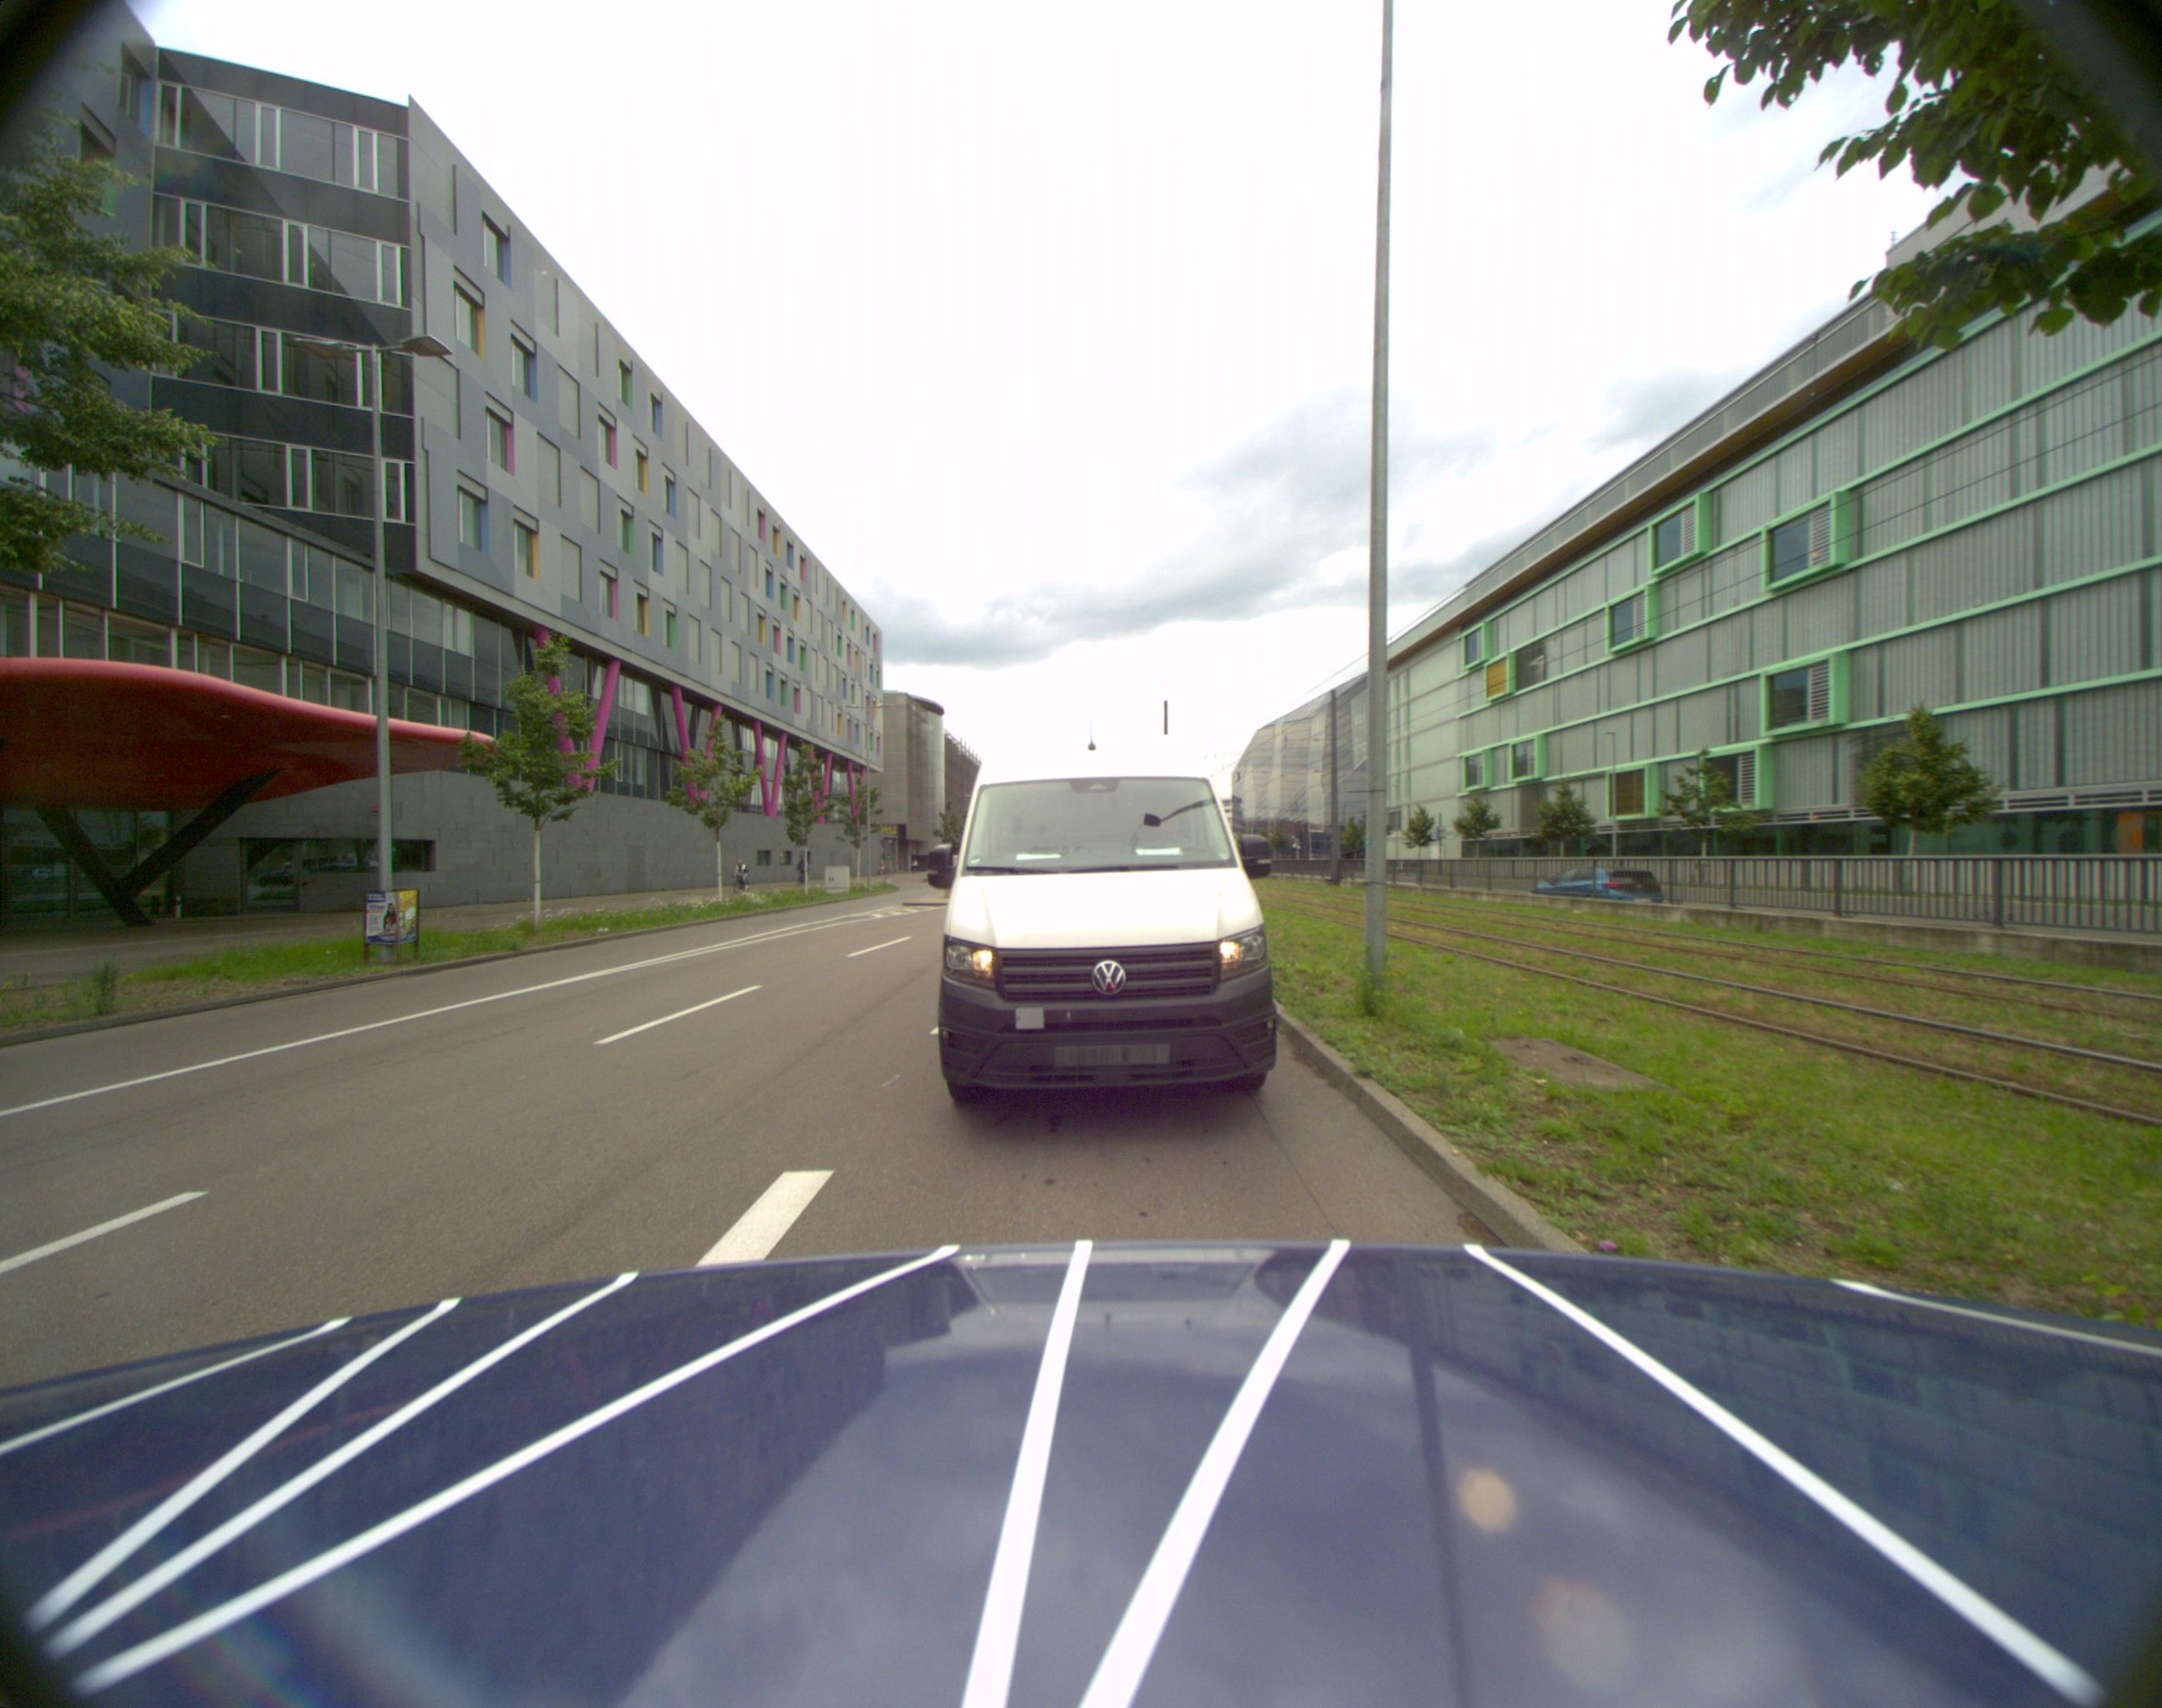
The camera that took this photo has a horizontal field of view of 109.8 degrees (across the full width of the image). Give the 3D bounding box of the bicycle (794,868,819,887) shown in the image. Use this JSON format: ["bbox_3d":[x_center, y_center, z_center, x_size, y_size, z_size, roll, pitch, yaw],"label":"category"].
[{"bbox_3d":[-18.292,1.555,50.627,0.801,1.150,2.346,-2,-4,0],"label":"bicycle"}]

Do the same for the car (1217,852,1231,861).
[{"bbox_3d":[26.800,0.477,142.648,1.998,1.583,4.769,-1,-2,3],"label":"car"}]

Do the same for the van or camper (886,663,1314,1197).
[{"bbox_3d":[0.096,0.377,6.230,2.043,2.572,5.041,-1,0,0],"label":"van or camper"}]

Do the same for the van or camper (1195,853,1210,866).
[{"bbox_3d":[23.966,1.091,150.109,2.178,2.273,6.507,-2,0,1],"label":"van or camper"}]

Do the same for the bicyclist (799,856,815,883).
[{"bbox_3d":[-18.306,1.035,50.775,0.784,1.790,0.705,-1,-4,0],"label":"bicyclist"}]

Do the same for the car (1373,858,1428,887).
[{"bbox_3d":[24.168,1.365,57.640,1.998,2.002,5.295,-1,0,1],"label":"car"}]

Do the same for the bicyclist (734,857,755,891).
[{"bbox_3d":[-17.721,1.048,40.033,0.784,1.792,0.705,-2,0,0],"label":"bicyclist"}]

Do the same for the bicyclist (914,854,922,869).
[{"bbox_3d":[-19.417,0.932,90.419,0.772,1.776,0.974,0,0,-3],"label":"bicyclist"}]

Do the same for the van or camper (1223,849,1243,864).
[{"bbox_3d":[24.254,0.433,121.748,2.178,2.273,5.359,0,0,1],"label":"van or camper"}]

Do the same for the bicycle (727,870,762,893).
[{"bbox_3d":[-17.713,1.418,40.037,0.801,1.151,2.345,-2,-1,0],"label":"bicycle"}]

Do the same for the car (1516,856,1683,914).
[{"bbox_3d":[15.995,0.888,23.823,1.969,1.579,4.688,-1,0,-1],"label":"car"}]

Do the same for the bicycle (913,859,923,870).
[{"bbox_3d":[-19.397,1.247,90.185,0.785,1.187,2.220,0,0,-3],"label":"bicycle"}]
